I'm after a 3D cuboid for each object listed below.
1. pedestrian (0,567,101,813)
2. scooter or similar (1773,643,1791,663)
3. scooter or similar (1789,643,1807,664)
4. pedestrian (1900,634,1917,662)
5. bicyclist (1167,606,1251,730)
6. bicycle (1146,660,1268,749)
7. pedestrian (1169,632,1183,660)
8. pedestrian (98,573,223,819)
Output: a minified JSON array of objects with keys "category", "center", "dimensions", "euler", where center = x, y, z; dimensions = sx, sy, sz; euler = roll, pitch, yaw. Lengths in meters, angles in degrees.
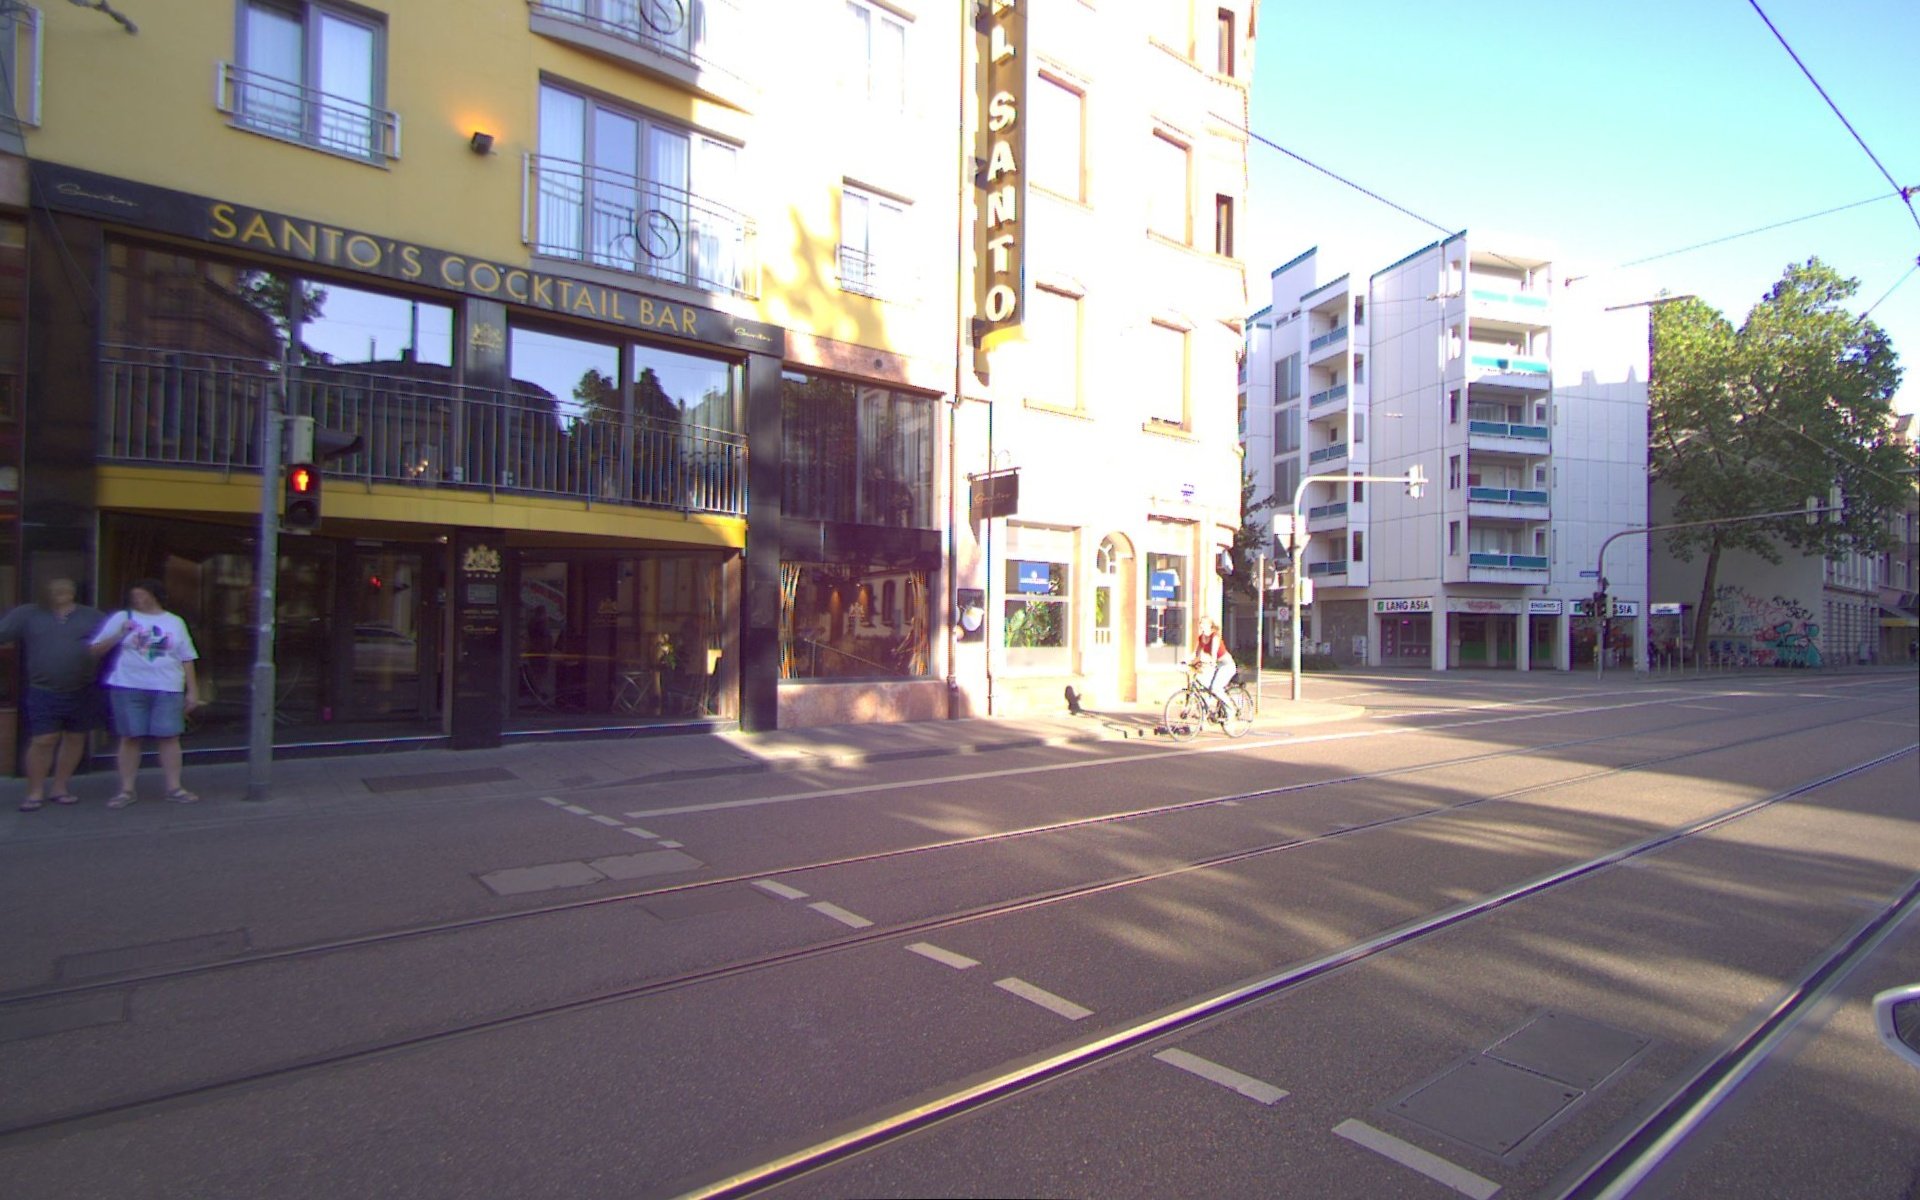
[{"category":"pedestrian","center":[-7.234,0.667,7.789],"dimensions":[0.793,1.795,0.741],"euler":[1,3,-37]},{"category":"scooter or similar","center":[43.993,2.828,53.728],"dimensions":[1.467,1.059,0.512],"euler":[2,-2,-41]},{"category":"scooter or similar","center":[44.408,2.820,53.253],"dimensions":[1.467,1.071,0.512],"euler":[2,-2,-41]},{"category":"pedestrian","center":[60.014,3.025,63.547],"dimensions":[0.642,1.751,0.695],"euler":[2,-2,-39]},{"category":"bicyclist","center":[3.479,0.926,14.046],"dimensions":[0.982,1.665,0.695],"euler":[2,-2,-40]},{"category":"bicycle","center":[3.478,1.421,14.042],"dimensions":[1.883,1.124,0.691],"euler":[2,-2,-40]},{"category":"pedestrian","center":[13.551,2.873,62.942],"dimensions":[0.651,1.718,0.646],"euler":[1,-1,-16]},{"category":"pedestrian","center":[-6.611,0.732,8.318],"dimensions":[0.748,1.843,1.033],"euler":[1,3,-39]}]
